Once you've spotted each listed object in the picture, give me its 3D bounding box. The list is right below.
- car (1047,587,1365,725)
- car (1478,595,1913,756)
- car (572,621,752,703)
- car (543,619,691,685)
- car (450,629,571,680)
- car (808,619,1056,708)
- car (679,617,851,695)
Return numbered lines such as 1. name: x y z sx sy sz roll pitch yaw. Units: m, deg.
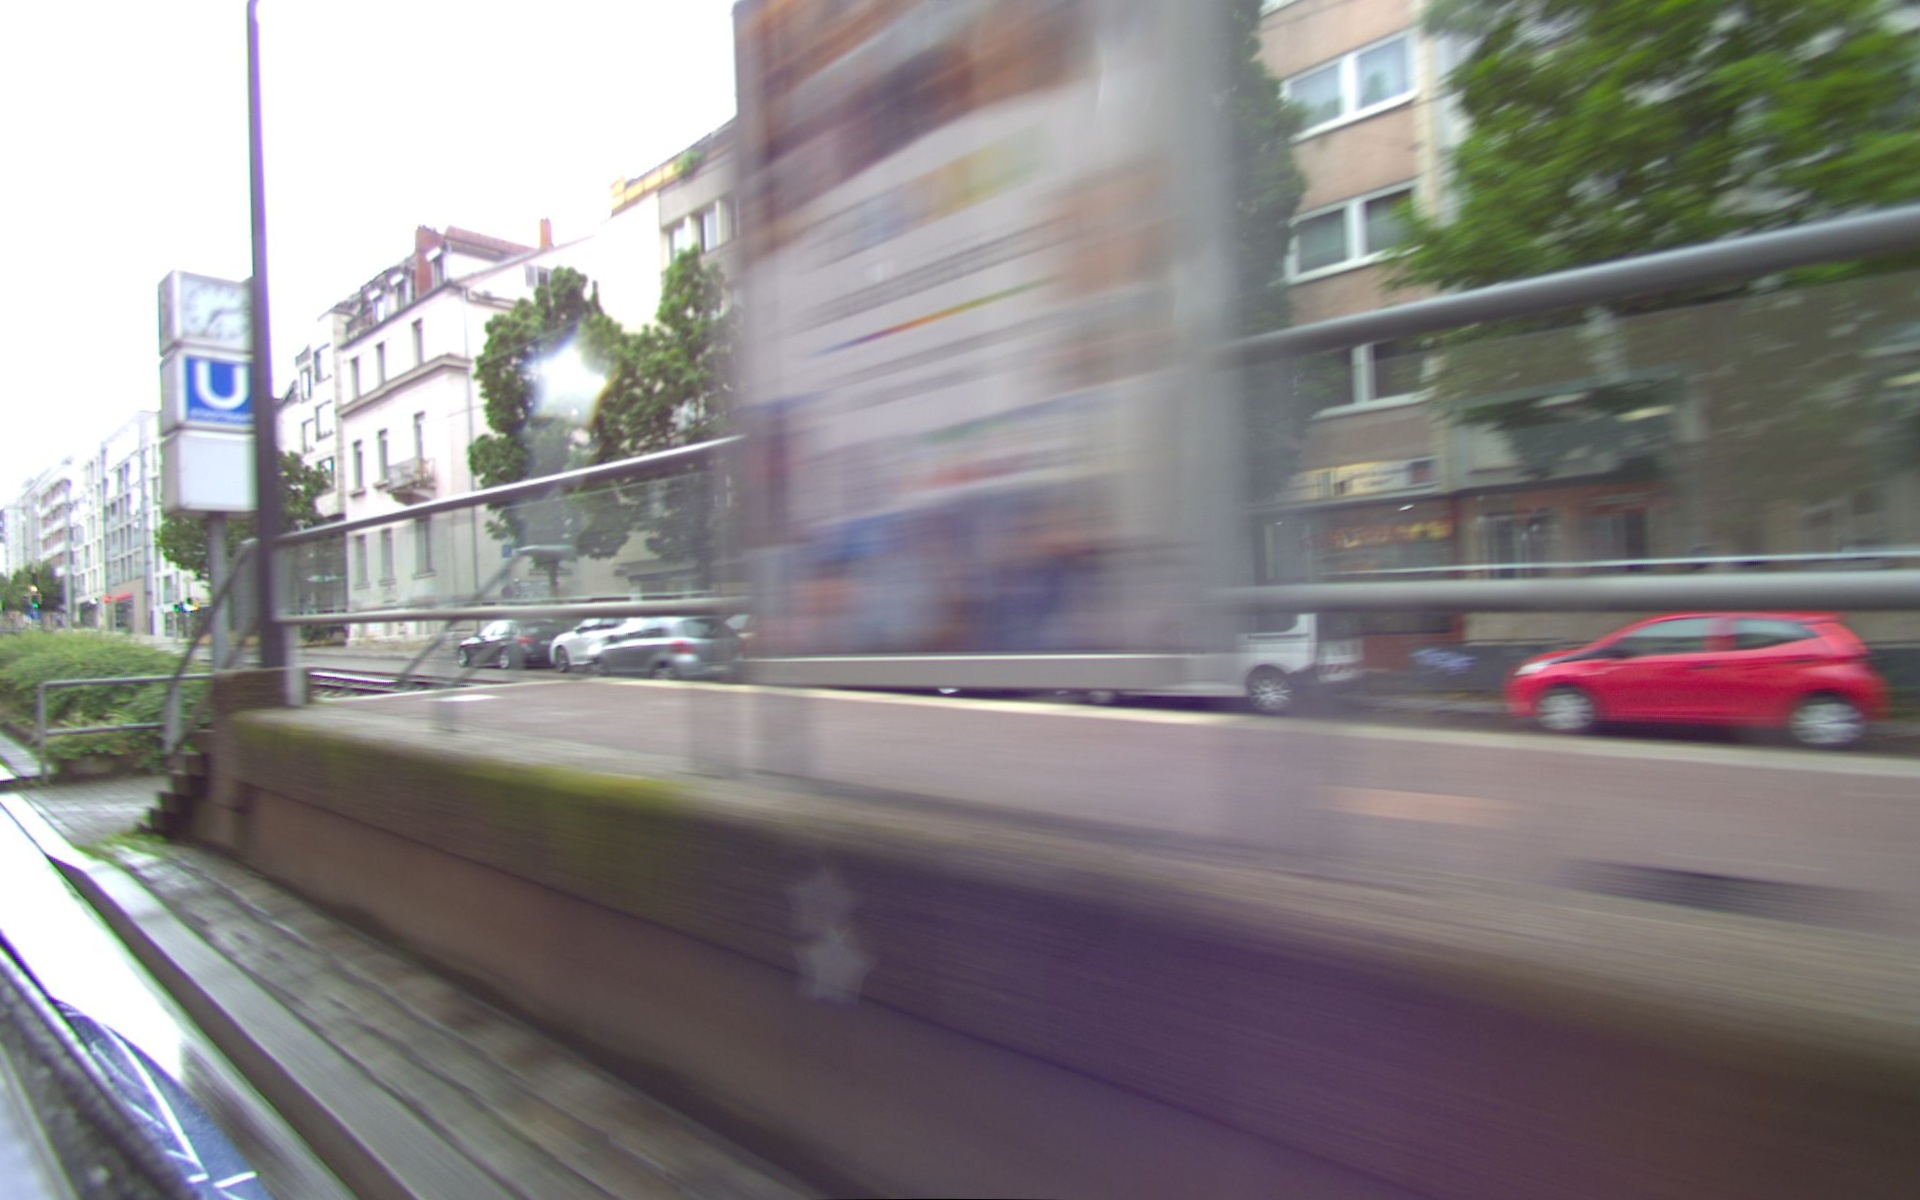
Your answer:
1. car: 3.626 0.787 15.430 4.428 1.831 1.657 -2 -1 40
2. car: 8.225 0.767 11.611 3.801 1.551 1.622 -2 -1 40
3. car: -6.040 1.173 20.286 3.962 1.473 1.621 -2 -1 42
4. car: -9.017 1.310 26.424 4.334 1.596 1.641 -2 -1 40
5. car: -13.518 1.574 30.286 4.457 1.386 1.695 -2 -1 43
6. car: -0.625 1.110 18.801 4.726 1.451 1.622 -2 -1 40
7. car: -4.352 1.167 22.237 4.021 1.549 1.621 -2 -1 42
